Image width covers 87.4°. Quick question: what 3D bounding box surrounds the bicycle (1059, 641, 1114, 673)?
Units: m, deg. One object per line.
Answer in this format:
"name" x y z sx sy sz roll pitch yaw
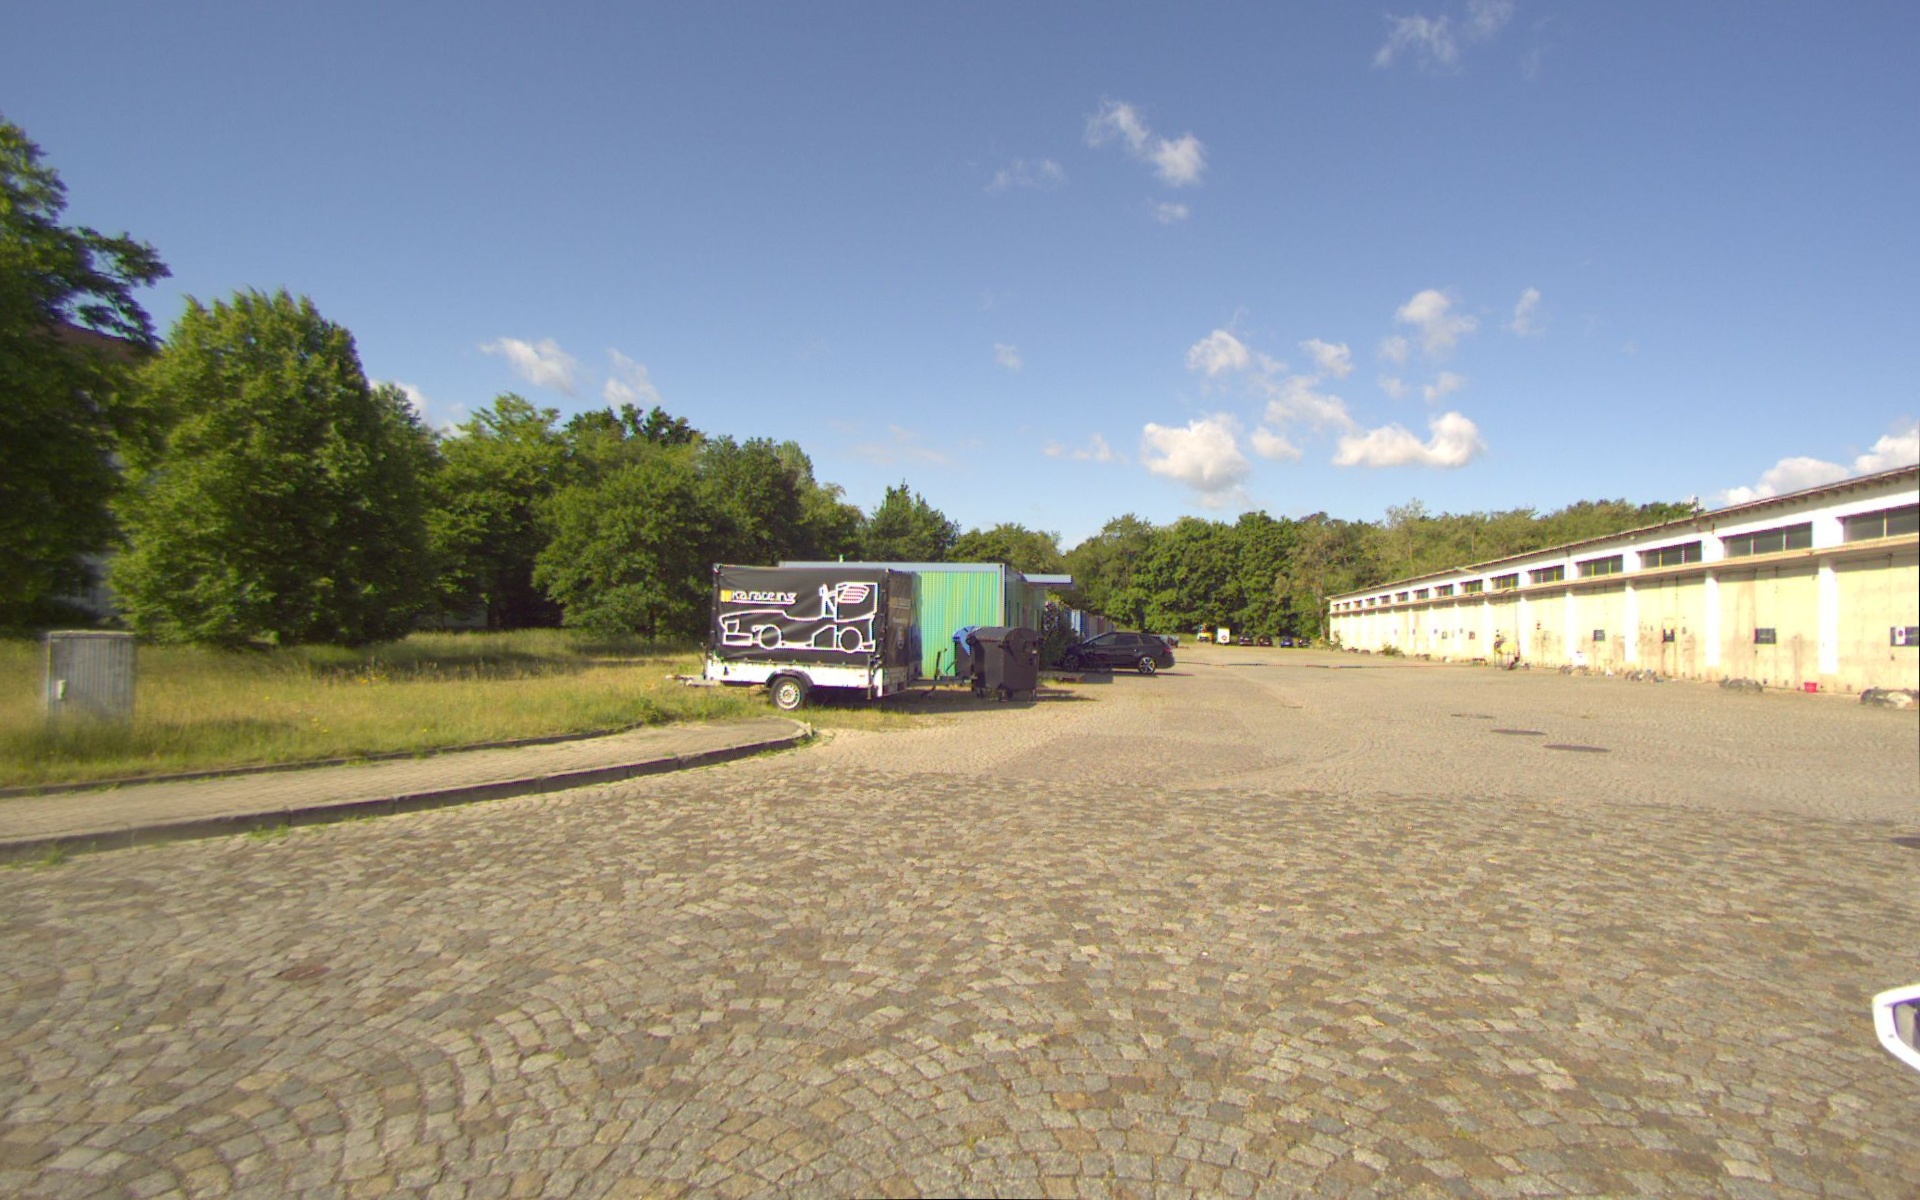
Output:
"bicycle" 4.348 1.944 34.424 1.843 1.041 1.039 1 -1 9

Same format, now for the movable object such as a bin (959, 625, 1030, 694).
"movable object such as a bin" 0.789 1.298 22.322 1.274 1.441 1.537 1 -2 13

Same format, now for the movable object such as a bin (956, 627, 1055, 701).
"movable object such as a bin" 0.898 1.249 20.111 1.371 1.404 1.522 2 -2 -33

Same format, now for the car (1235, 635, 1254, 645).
"car" 36.531 5.118 128.949 1.959 1.275 4.003 0 -2 11

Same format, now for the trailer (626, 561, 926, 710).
"trailer" -3.093 0.578 17.325 4.576 2.328 2.138 1 -2 13

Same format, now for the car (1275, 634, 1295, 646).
"car" 41.530 5.108 128.275 1.959 1.485 4.003 0 -2 11

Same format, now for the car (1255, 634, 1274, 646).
"car" 39.038 5.126 128.807 1.959 1.443 4.003 0 -2 11

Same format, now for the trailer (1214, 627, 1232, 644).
"trailer" 34.212 4.654 130.707 1.959 2.190 4.435 0 -2 11

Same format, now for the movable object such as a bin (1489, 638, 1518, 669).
"movable object such as a bin" 25.077 2.465 46.339 0.860 1.420 1.102 1 -2 11

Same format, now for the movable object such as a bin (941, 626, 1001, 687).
"movable object such as a bin" 0.256 1.341 24.113 1.359 1.404 1.536 1 -2 0

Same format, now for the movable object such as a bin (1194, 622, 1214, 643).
"movable object such as a bin" 31.997 4.266 131.954 2.194 2.692 4.003 0 -1 9

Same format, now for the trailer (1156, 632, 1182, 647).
"trailer" 23.653 4.435 113.946 2.743 1.667 5.625 0 -2 11

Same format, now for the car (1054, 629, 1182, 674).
"car" 5.598 1.797 35.739 4.339 1.484 2.002 1 -2 8

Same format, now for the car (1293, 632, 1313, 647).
"car" 44.051 5.047 129.022 1.959 1.796 4.003 0 -2 11

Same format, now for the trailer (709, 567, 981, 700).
"trailer" -2.162 0.632 19.672 4.874 2.386 2.097 1 -2 8
